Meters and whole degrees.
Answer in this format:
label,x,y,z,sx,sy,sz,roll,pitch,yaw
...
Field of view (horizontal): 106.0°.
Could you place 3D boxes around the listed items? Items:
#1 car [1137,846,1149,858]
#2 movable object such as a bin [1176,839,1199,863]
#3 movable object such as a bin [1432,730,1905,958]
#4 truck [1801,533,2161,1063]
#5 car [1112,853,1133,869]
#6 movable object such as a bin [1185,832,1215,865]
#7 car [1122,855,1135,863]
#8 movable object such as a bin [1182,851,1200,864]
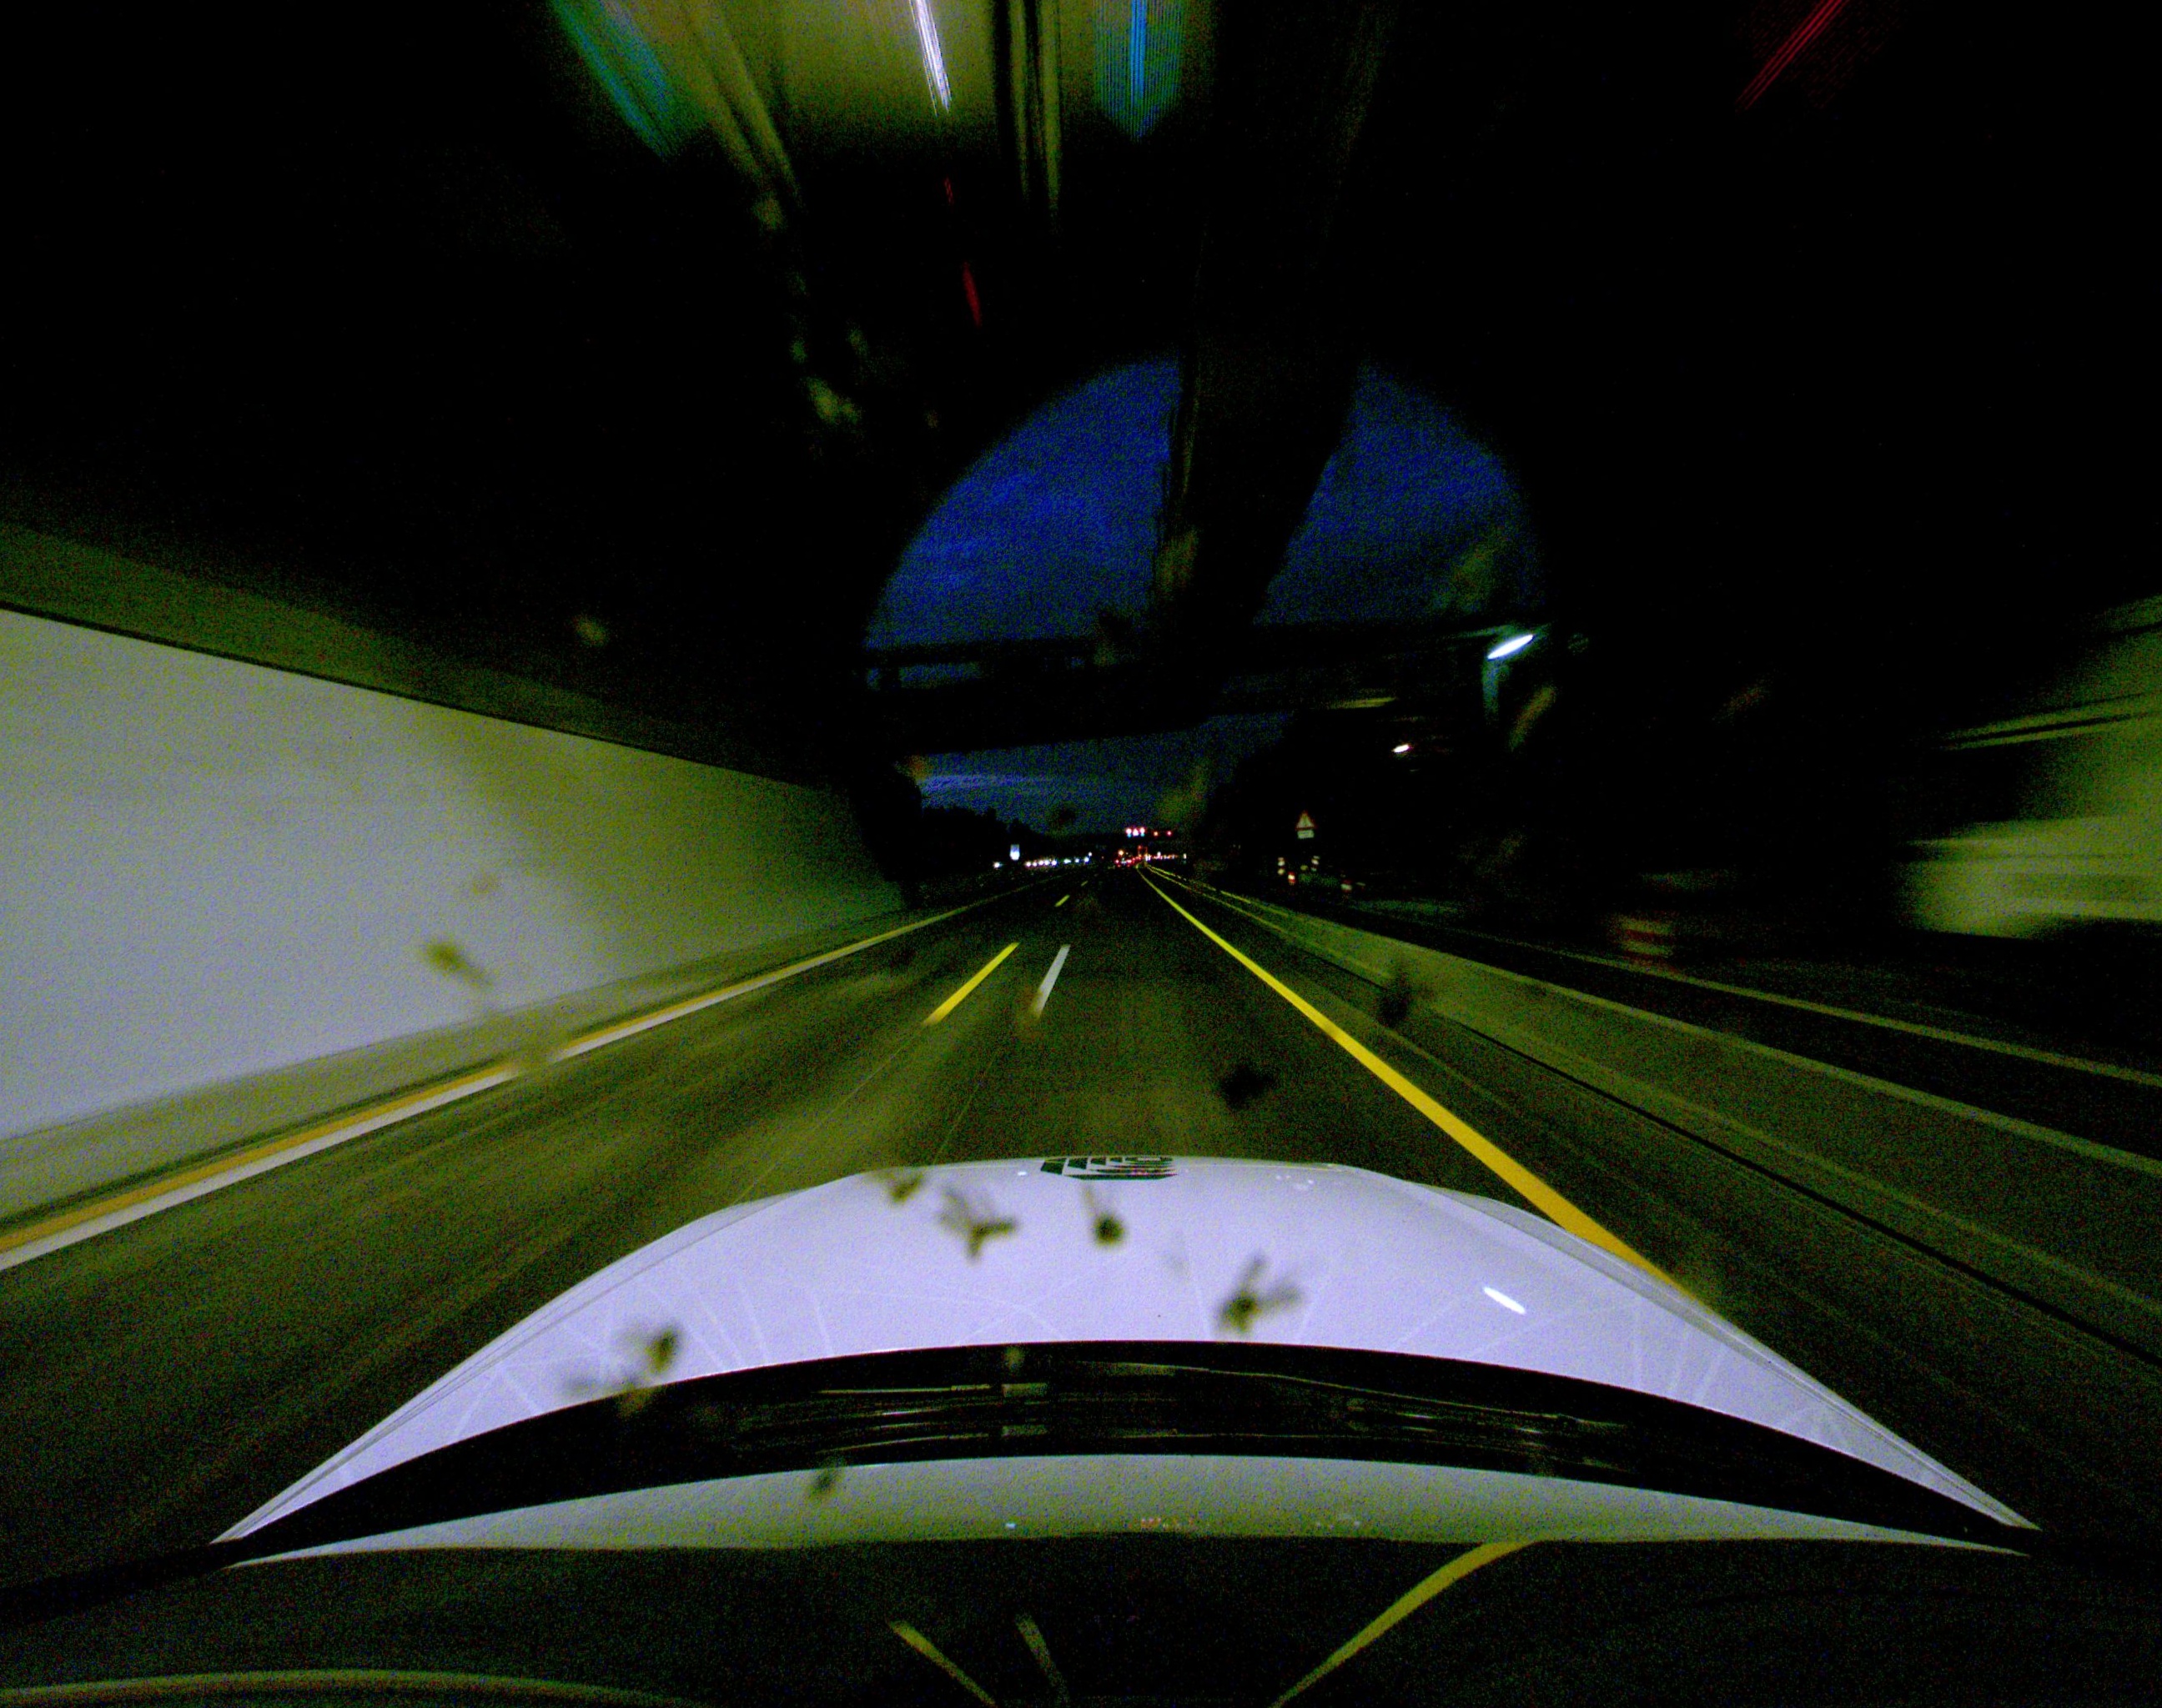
label,x,y,z,sx,sy,sz,roll,pitch,yaw
car,18.449,-0.543,241.624,3.588,3.396,8.025,0,-1,5
movable object such as a bin,14.414,-0.330,110.893,2.609,3.108,5.811,-2,-1,3
movable object such as a bin,8.881,-0.091,13.770,2.959,2.827,7.199,0,-1,2
truck,8.069,-0.366,3.421,2.808,3.286,8.354,0,-1,1
car,4.519,0.775,88.147,2.256,1.621,4.003,0,-1,3
movable object such as a bin,12.793,-0.529,87.968,2.553,3.318,5.584,-3,-1,3
car,8.793,0.887,149.272,1.960,1.437,4.010,-1,-1,9
movable object such as a bin,14.248,0.500,105.922,1.984,1.601,4.089,-3,-1,4
